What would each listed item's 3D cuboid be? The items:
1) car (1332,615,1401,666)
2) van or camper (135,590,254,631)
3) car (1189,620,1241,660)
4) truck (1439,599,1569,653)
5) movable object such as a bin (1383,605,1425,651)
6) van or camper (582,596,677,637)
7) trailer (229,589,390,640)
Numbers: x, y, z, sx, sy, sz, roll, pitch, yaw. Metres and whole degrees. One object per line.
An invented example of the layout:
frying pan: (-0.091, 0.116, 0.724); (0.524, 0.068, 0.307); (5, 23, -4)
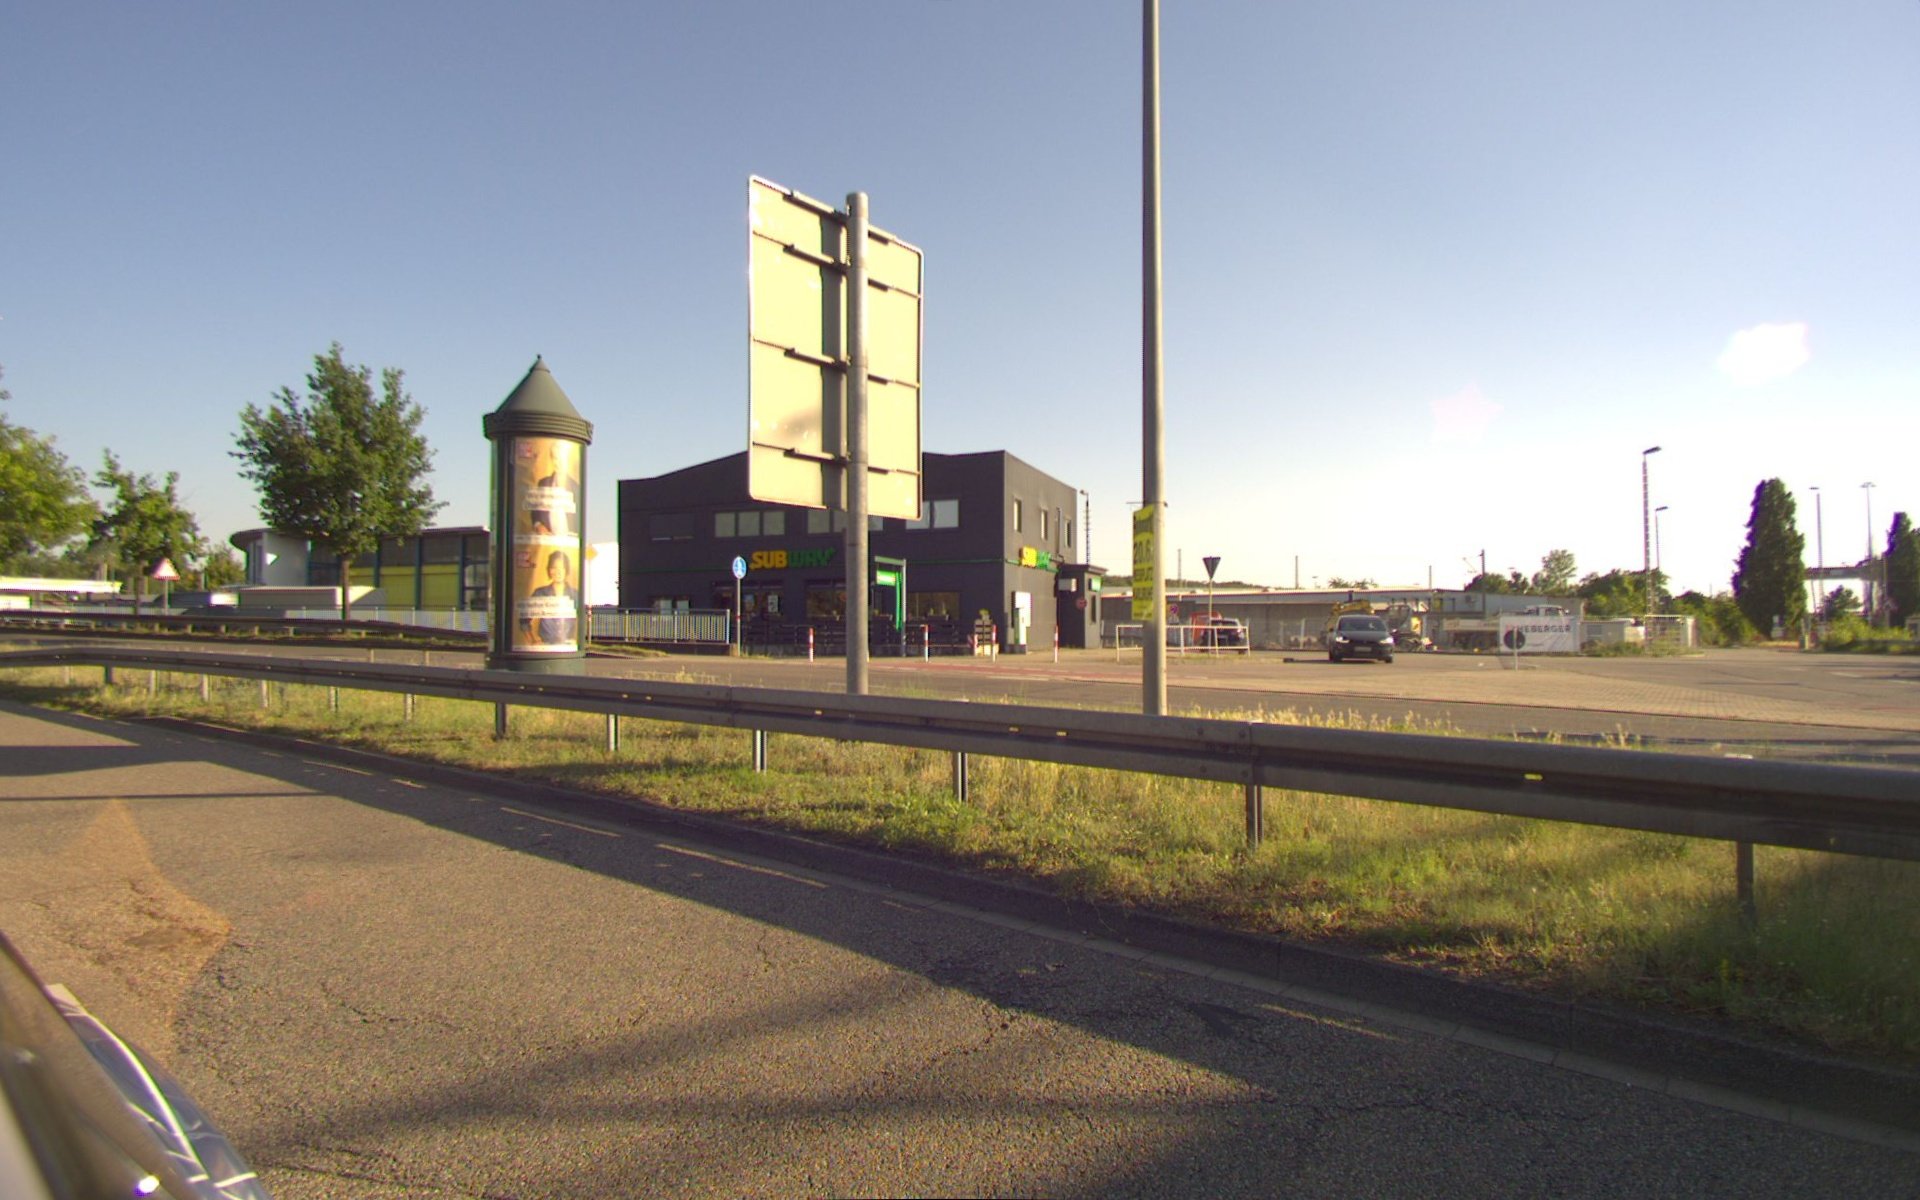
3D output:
car: (14.623, 1.386, 36.312); (1.784, 1.676, 4.474); (0, -1, 29)
van or camper: (-34.443, 0.450, 45.536); (4.924, 1.698, 1.986); (1, 0, 21)
car: (10.773, 1.657, 42.563); (1.829, 1.541, 3.976); (1, -1, 18)
truck: (33.942, 1.600, 63.346); (6.696, 3.168, 2.434); (1, -1, 6)
movable object such as a bin: (26.527, 1.648, 60.428); (2.210, 2.735, 1.723); (0, -1, 28)
van or camper: (-16.751, 0.840, 51.368); (4.158, 1.940, 2.006); (2, -1, -33)
trailer: (-27.624, 0.569, 42.970); (6.560, 1.985, 2.410); (1, 0, 22)
